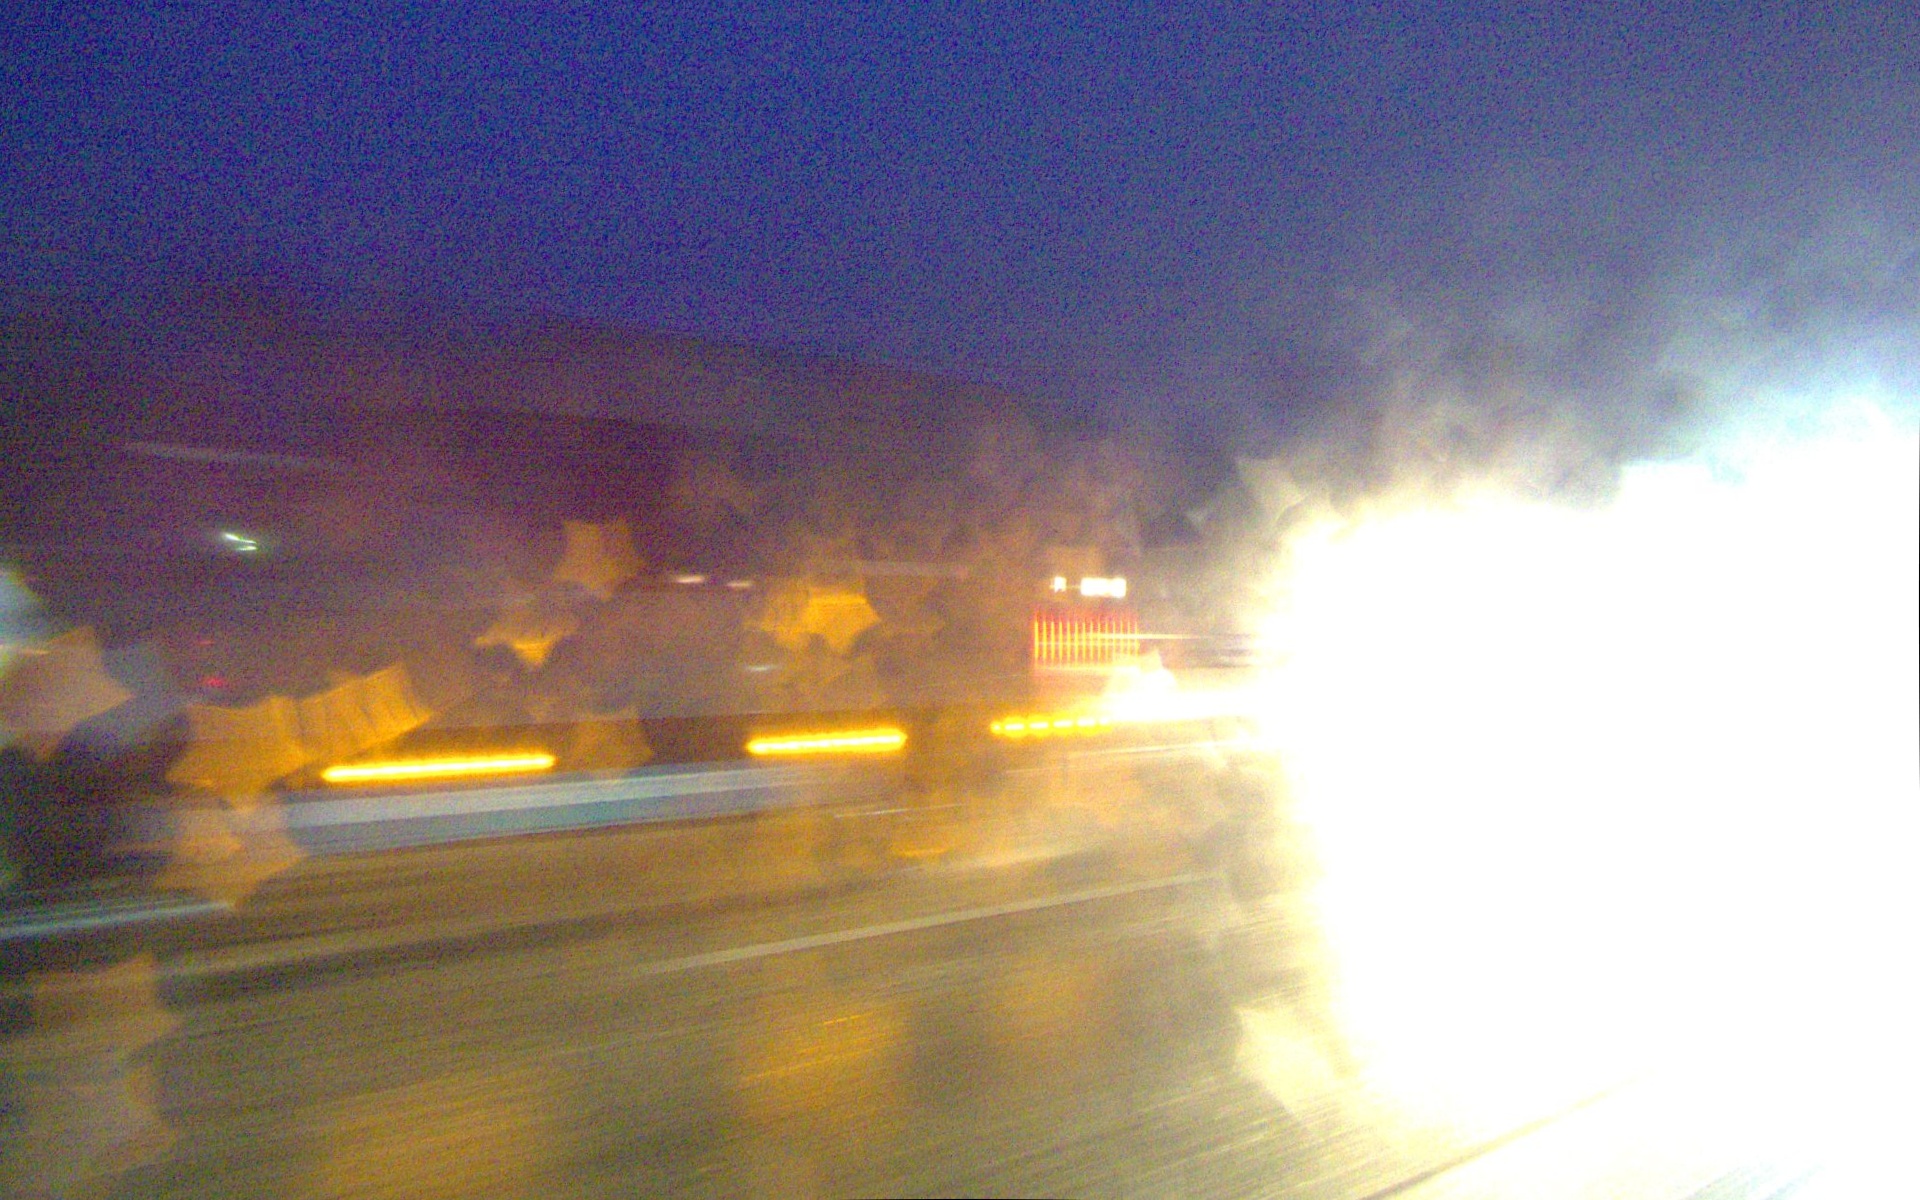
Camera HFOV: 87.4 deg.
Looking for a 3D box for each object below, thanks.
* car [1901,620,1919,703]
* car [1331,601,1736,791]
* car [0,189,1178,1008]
[{"bbox_3d":[19.593,1.160,18.477,4.935,1.469,2.066,1,0,-31],"label":"car"},{"bbox_3d":[5.868,0.839,10.201,3.942,1.557,1.869,1,0,-31],"label":"car"},{"bbox_3d":[-1.872,0.031,5.423,6.169,2.744,2.112,1,0,-31],"label":"car"}]
